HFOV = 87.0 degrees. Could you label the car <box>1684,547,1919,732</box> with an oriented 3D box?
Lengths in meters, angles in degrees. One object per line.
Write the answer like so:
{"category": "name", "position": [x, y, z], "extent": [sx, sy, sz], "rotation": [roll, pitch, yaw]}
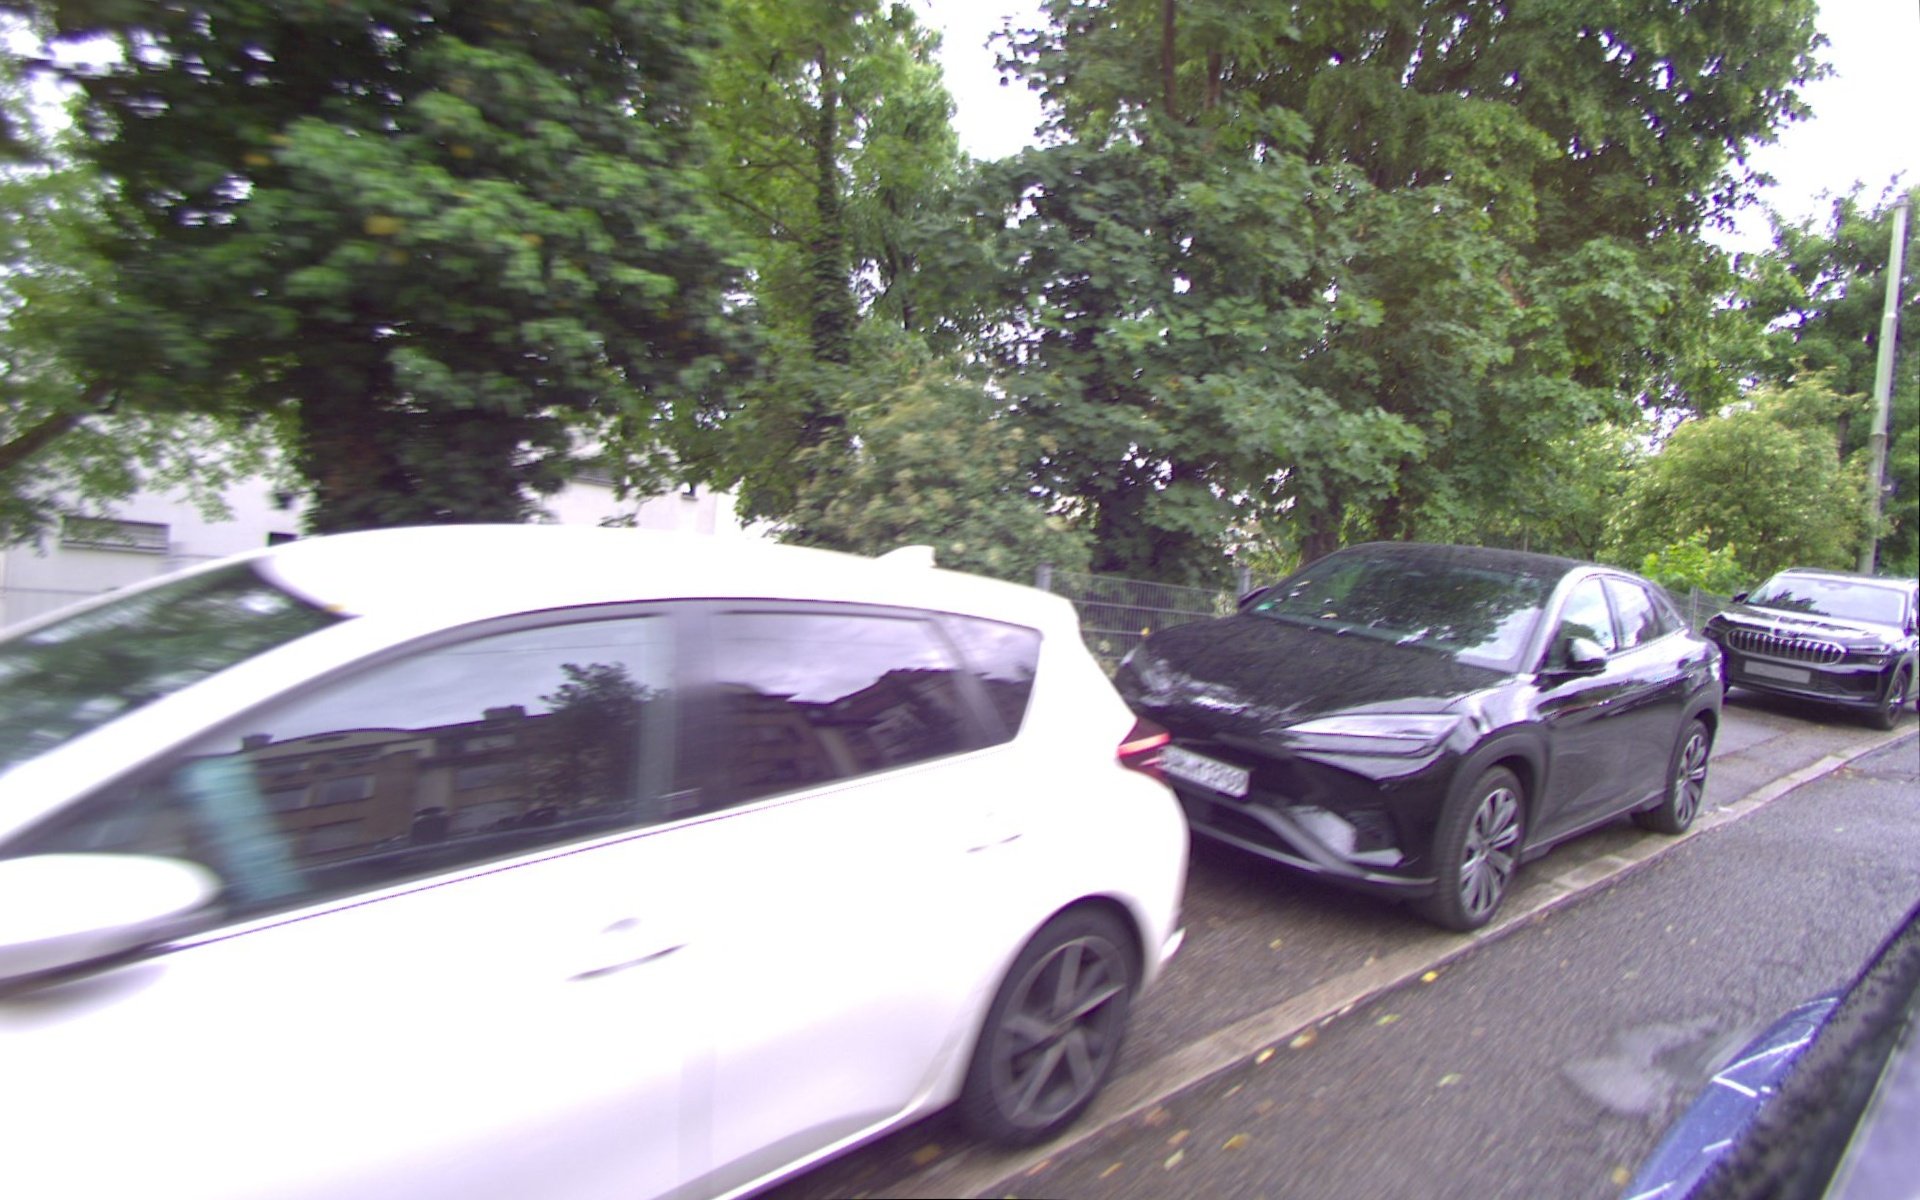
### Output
{"category": "car", "position": [10.877, 0.355, 12.326], "extent": [4.714, 1.701, 1.829], "rotation": [0, 8, -37]}

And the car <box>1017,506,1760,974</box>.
{"category": "car", "position": [2.627, 0.377, 5.695], "extent": [4.405, 1.628, 1.981], "rotation": [-2, 5, -40]}

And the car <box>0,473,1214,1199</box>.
{"category": "car", "position": [-1.497, 0.504, 2.214], "extent": [4.042, 1.469, 1.981], "rotation": [-1, 5, -41]}

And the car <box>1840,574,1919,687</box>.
{"category": "car", "position": [15.475, 0.467, 15.793], "extent": [3.928, 1.512, 1.821], "rotation": [-2, 8, -39]}
